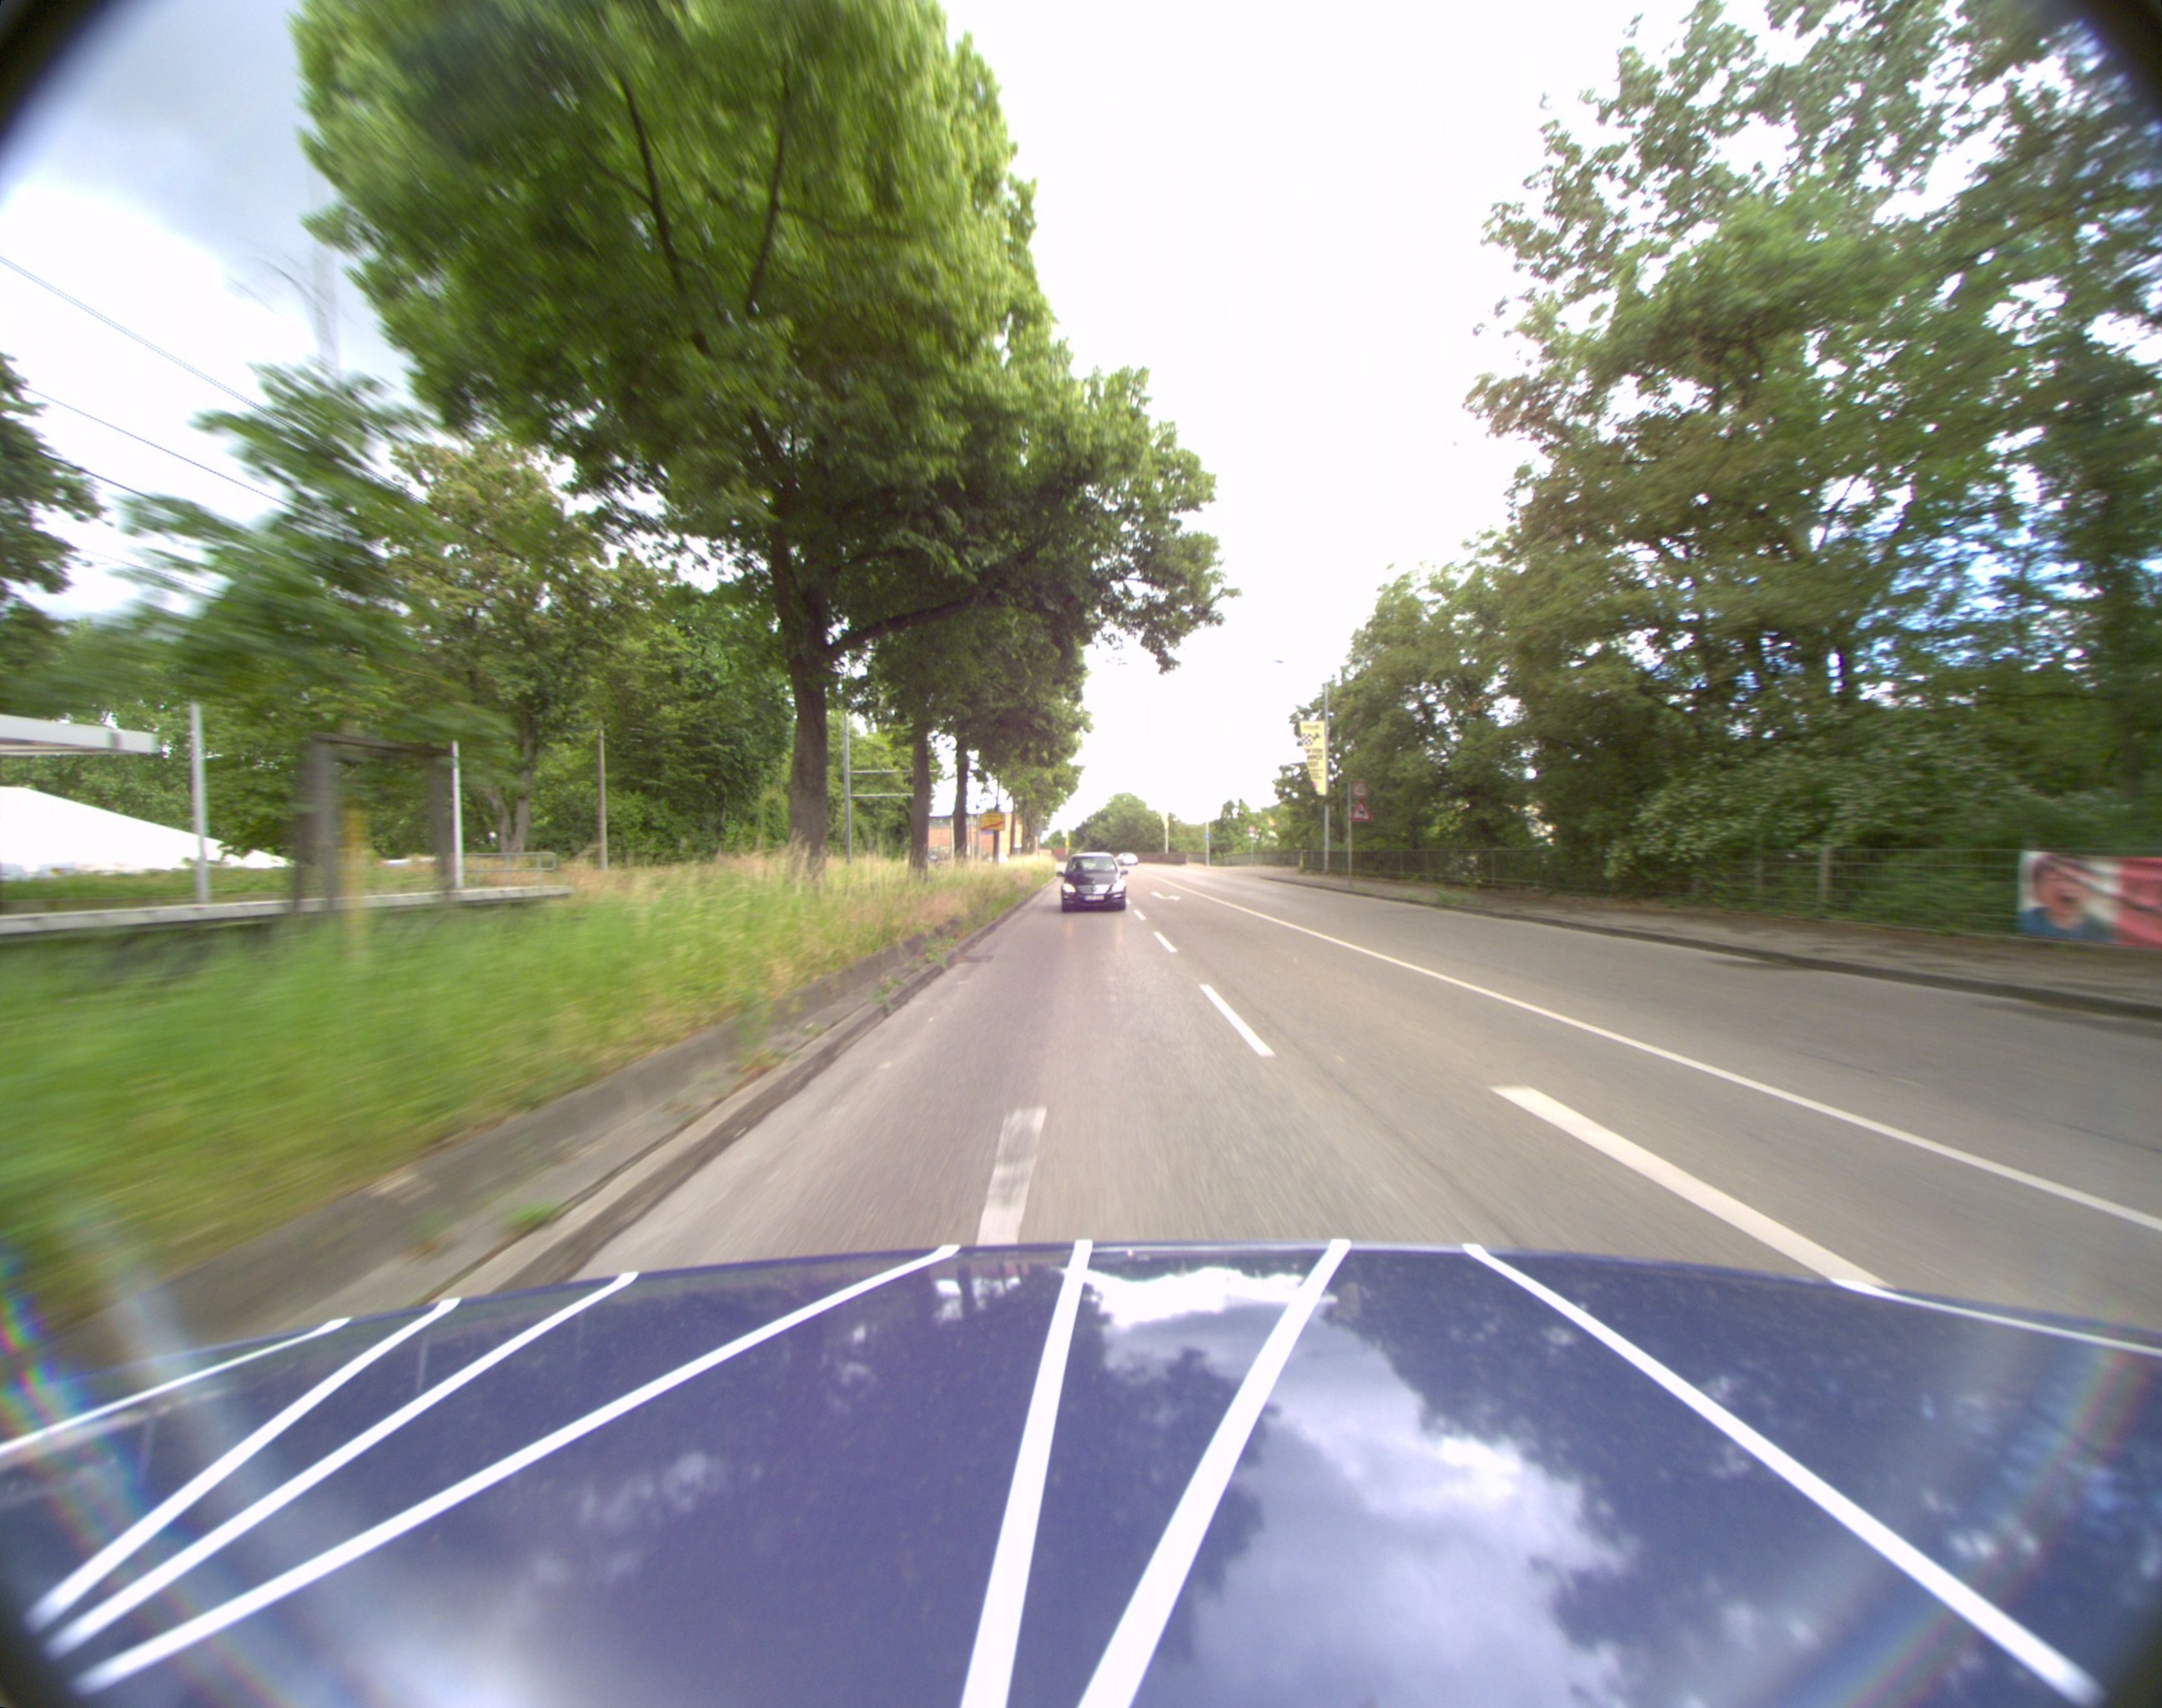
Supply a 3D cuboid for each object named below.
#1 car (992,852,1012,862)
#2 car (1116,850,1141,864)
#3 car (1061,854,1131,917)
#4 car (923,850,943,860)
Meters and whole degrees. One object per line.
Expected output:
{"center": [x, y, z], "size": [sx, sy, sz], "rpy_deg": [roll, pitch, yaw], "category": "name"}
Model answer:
{"center": [-12.449, 0.505, 119.193], "size": [1.588, 1.457, 3.687], "rpy_deg": [-2, 1, -32], "category": "car"}
{"center": [5.056, 0.273, 80.912], "size": [1.764, 1.329, 3.692], "rpy_deg": [-3, 1, -9], "category": "car"}
{"center": [0.320, 0.795, 21.132], "size": [1.751, 1.556, 4.073], "rpy_deg": [0, 1, -2], "category": "car"}
{"center": [-25.918, 0.196, 133.216], "size": [1.729, 1.598, 4.003], "rpy_deg": [-3, 1, -40], "category": "car"}
